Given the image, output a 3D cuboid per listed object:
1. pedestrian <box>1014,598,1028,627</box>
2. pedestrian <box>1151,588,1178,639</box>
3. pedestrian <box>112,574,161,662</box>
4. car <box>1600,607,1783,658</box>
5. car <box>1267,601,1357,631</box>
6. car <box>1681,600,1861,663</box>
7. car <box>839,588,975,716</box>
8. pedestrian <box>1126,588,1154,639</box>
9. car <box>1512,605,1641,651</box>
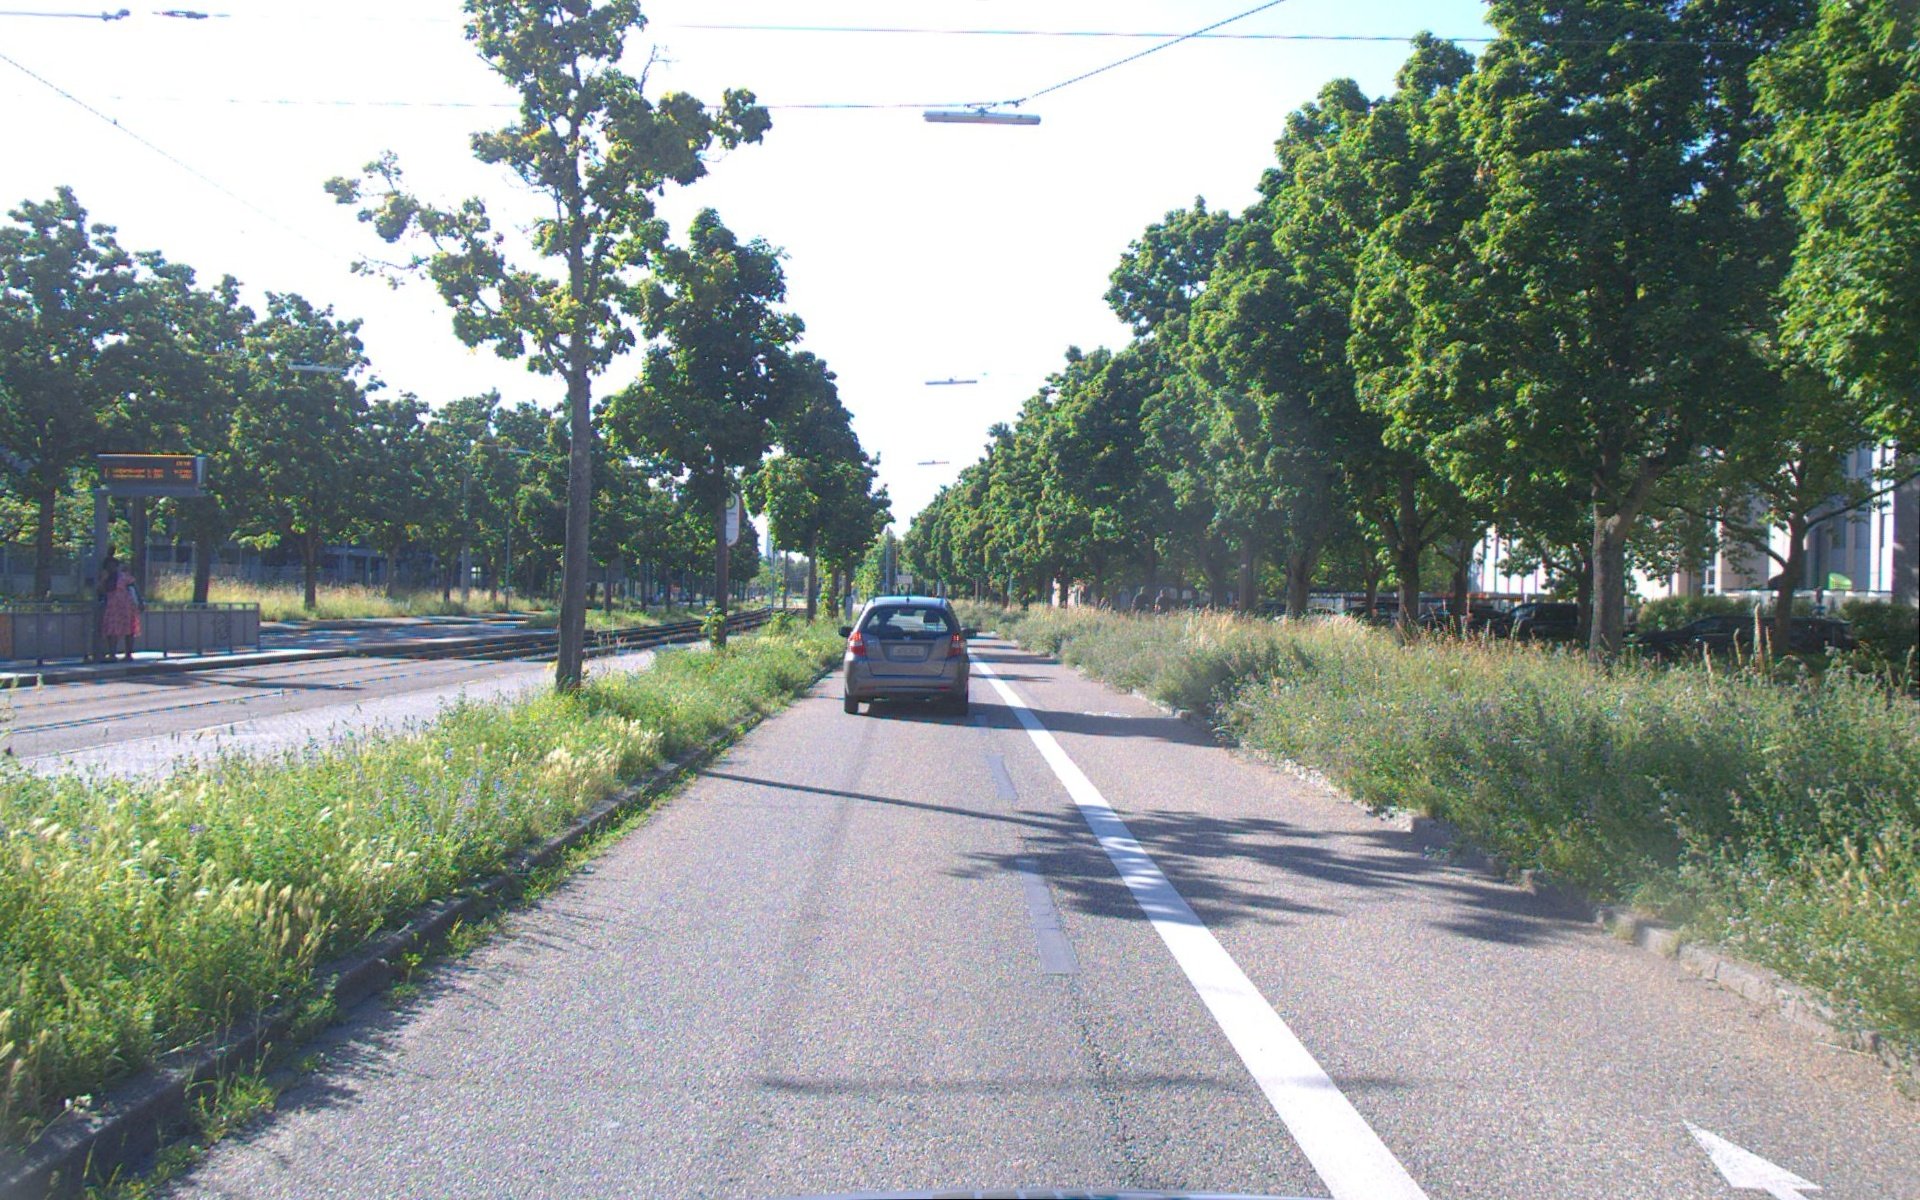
[{"bbox_3d":[3.665,0.730,99.420,0.710,1.720,0.820,1,0,-2],"label":"pedestrian"},{"bbox_3d":[7.748,0.519,62.771,0.864,1.917,0.875,1,0,-3],"label":"pedestrian"},{"bbox_3d":[-13.897,0.309,27.920,0.533,1.473,0.559,0,-1,0],"label":"pedestrian"},{"bbox_3d":[21.308,0.913,48.243,4.591,1.350,2.084,1,0,35],"label":"car"},{"bbox_3d":[19.571,0.880,92.077,4.541,1.583,1.998,1,0,-6],"label":"car"},{"bbox_3d":[21.995,0.830,44.909,4.147,1.583,1.921,1,0,36],"label":"car"},{"bbox_3d":[-0.652,0.703,22.785,1.666,1.550,3.709,2,-1,0],"label":"car"},{"bbox_3d":[6.828,0.507,62.763,0.864,1.917,0.875,1,0,-3],"label":"pedestrian"},{"bbox_3d":[21.963,0.982,58.984,3.920,1.540,1.992,1,0,36],"label":"car"}]
